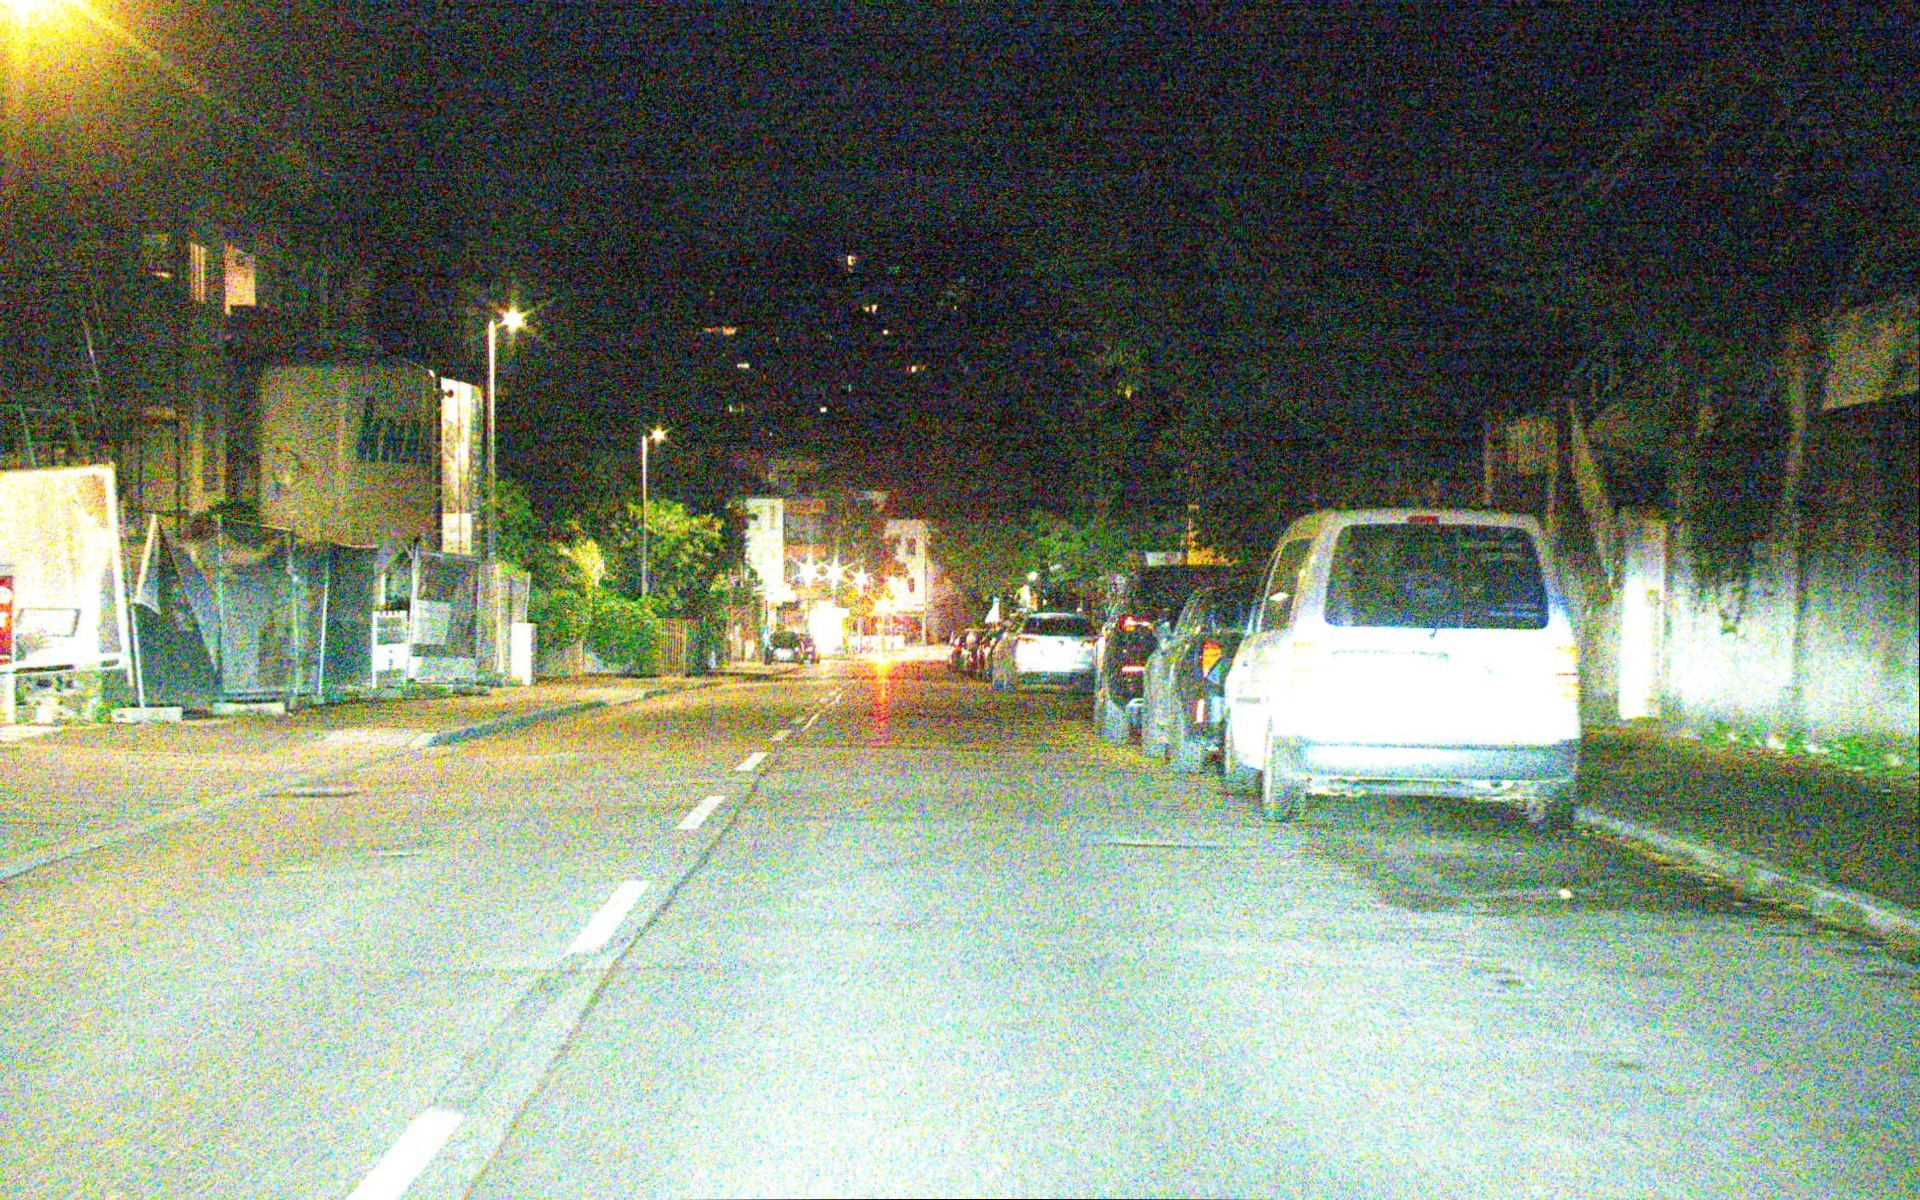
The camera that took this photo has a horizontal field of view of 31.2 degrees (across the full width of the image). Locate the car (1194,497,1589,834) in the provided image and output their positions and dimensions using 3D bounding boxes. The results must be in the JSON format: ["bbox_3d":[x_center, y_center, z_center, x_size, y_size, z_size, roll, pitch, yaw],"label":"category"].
[{"bbox_3d":[2.481,0.334,20.842,1.718,1.755,4.758,2,0,0],"label":"car"}]

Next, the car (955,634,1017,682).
[{"bbox_3d":[0.820,1.838,109.326,1.682,1.444,4.000,2,-1,-3],"label":"car"}]

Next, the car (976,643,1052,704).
[{"bbox_3d":[1.308,1.802,85.049,1.629,1.434,3.864,1,-1,-2],"label":"car"}]

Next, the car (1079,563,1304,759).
[{"bbox_3d":[2.075,0.551,31.957,1.832,1.658,4.618,1,-1,1],"label":"car"}]

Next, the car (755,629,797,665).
[{"bbox_3d":[-8.111,2.076,151.280,1.753,1.534,3.731,1,-1,-4],"label":"car"}]

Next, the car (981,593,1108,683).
[{"bbox_3d":[1.470,0.679,61.519,1.763,1.471,4.276,3,-1,-5],"label":"car"}]

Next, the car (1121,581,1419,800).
[{"bbox_3d":[2.284,0.632,26.334,1.743,1.466,4.257,3,0,-1],"label":"car"}]

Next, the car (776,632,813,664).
[{"bbox_3d":[-8.085,2.361,168.401,1.753,1.534,3.731,1,-1,-2],"label":"car"}]
